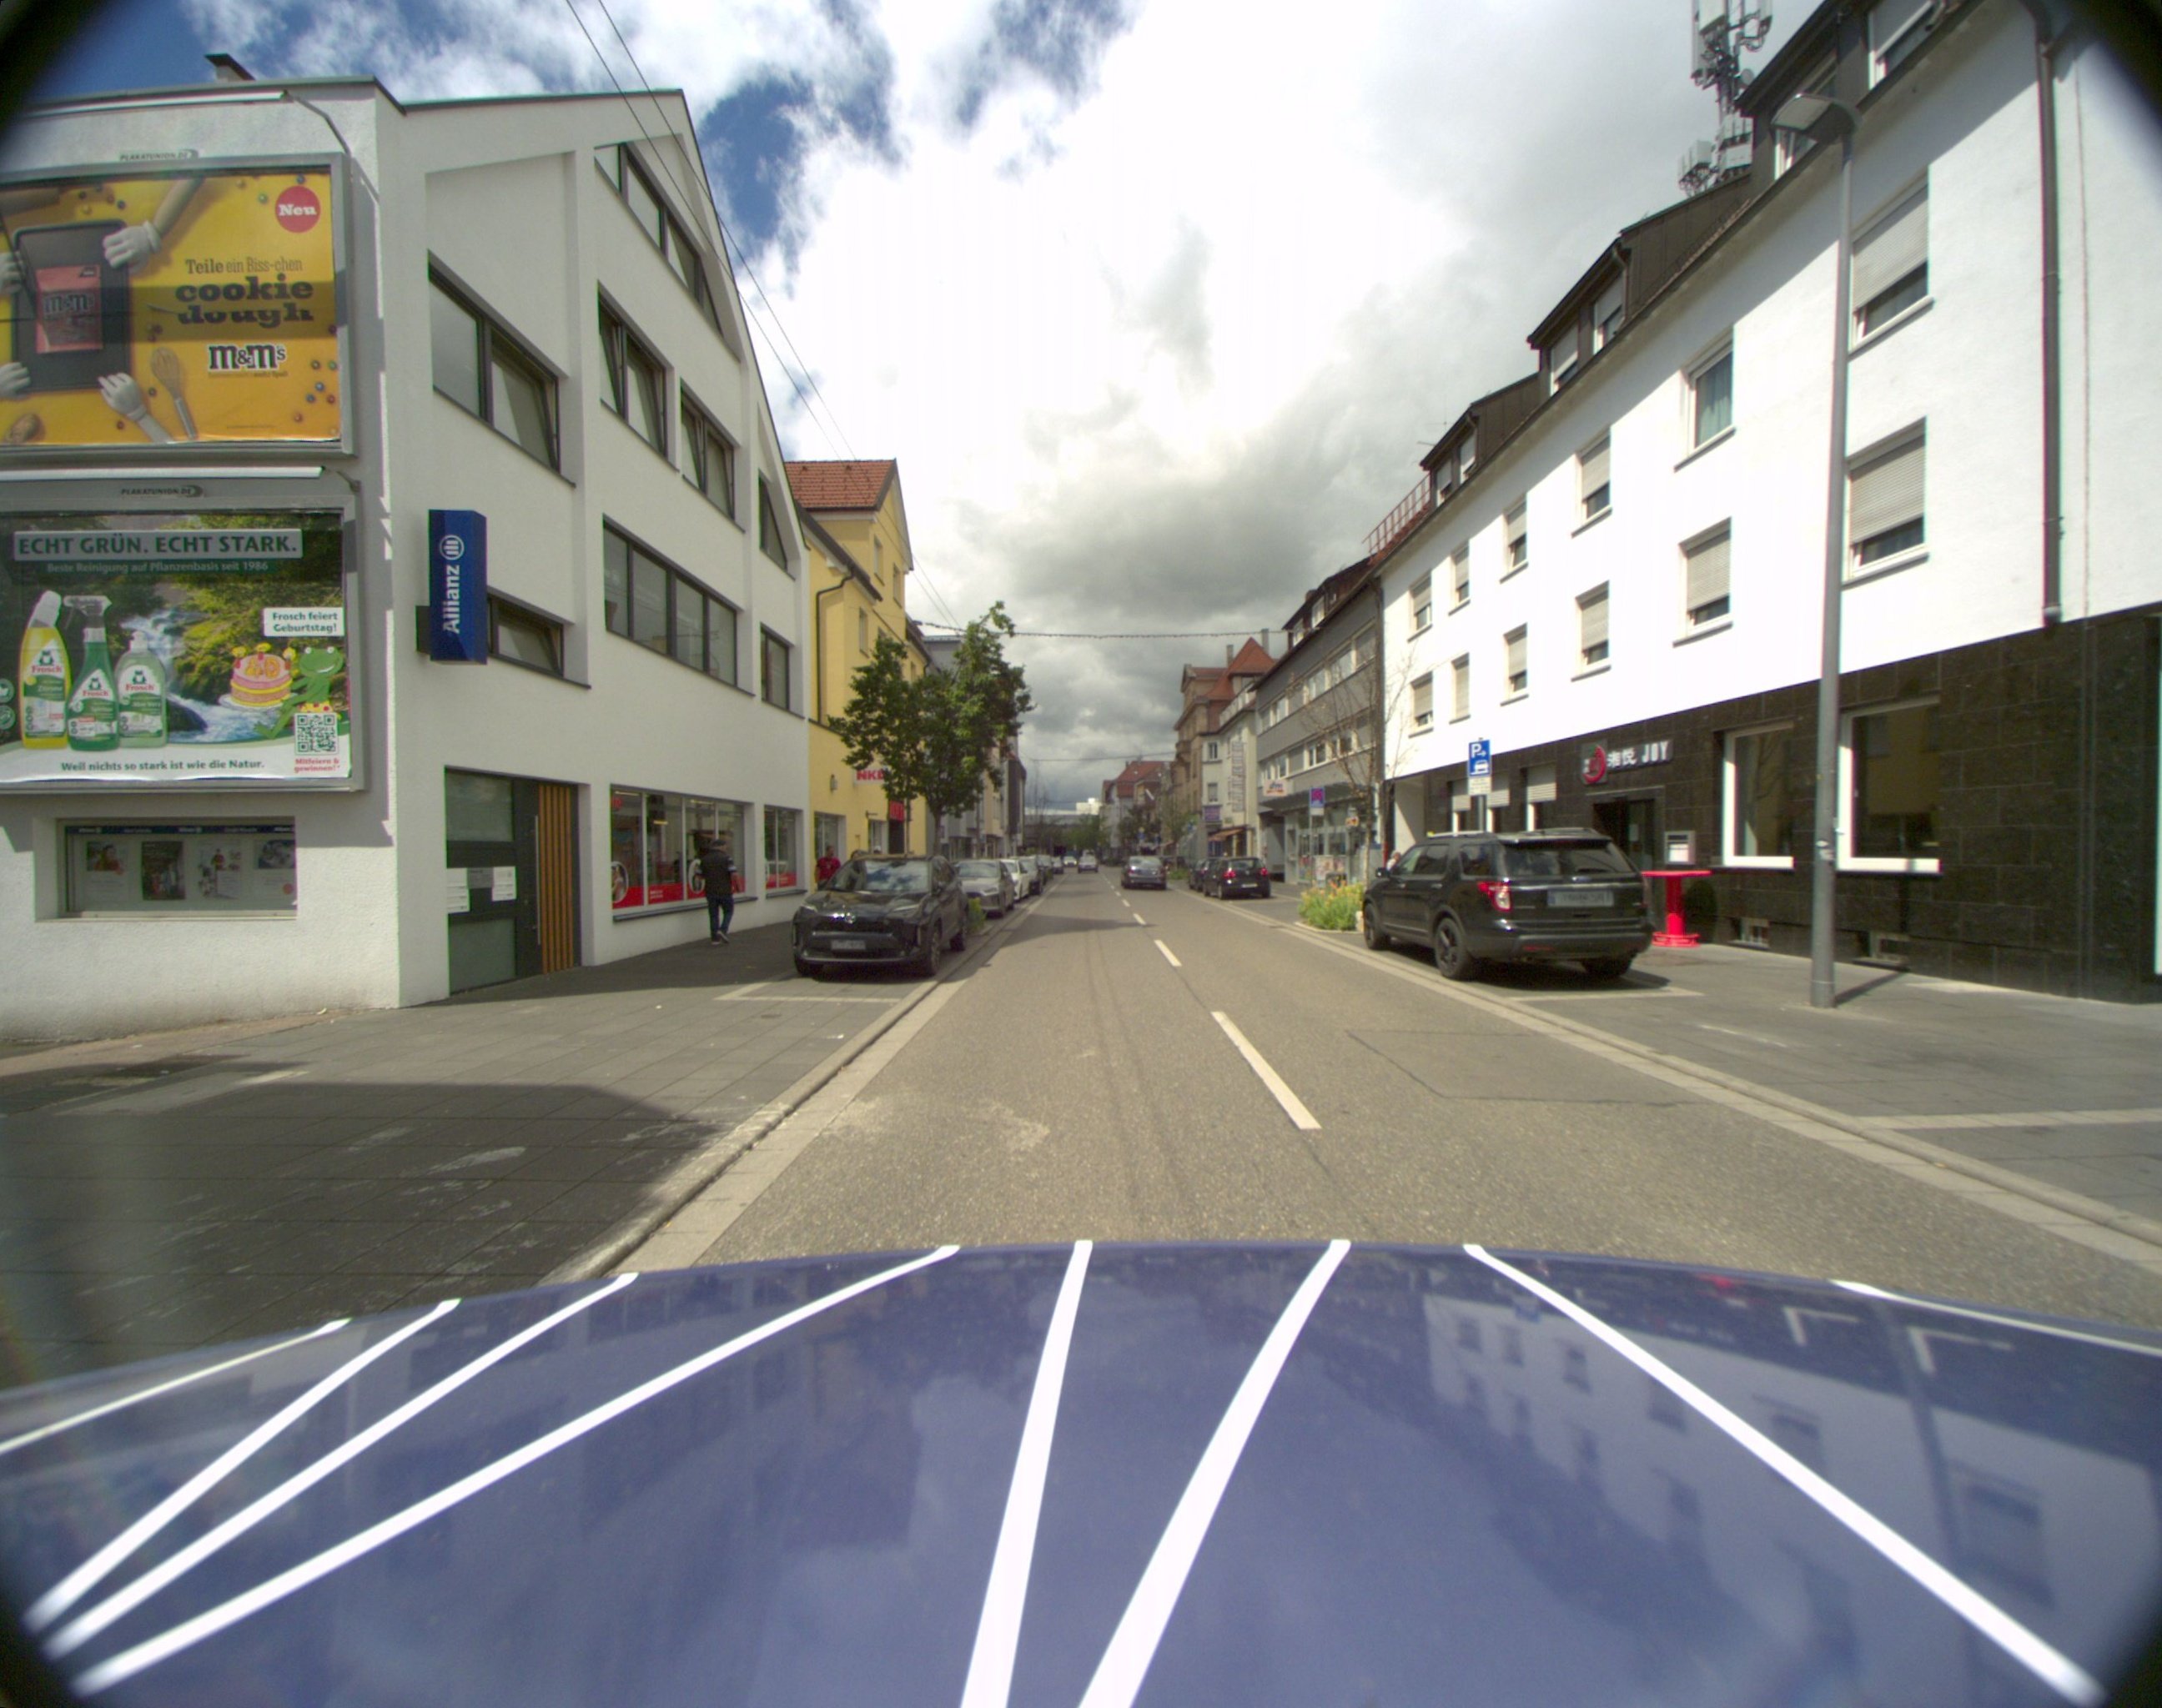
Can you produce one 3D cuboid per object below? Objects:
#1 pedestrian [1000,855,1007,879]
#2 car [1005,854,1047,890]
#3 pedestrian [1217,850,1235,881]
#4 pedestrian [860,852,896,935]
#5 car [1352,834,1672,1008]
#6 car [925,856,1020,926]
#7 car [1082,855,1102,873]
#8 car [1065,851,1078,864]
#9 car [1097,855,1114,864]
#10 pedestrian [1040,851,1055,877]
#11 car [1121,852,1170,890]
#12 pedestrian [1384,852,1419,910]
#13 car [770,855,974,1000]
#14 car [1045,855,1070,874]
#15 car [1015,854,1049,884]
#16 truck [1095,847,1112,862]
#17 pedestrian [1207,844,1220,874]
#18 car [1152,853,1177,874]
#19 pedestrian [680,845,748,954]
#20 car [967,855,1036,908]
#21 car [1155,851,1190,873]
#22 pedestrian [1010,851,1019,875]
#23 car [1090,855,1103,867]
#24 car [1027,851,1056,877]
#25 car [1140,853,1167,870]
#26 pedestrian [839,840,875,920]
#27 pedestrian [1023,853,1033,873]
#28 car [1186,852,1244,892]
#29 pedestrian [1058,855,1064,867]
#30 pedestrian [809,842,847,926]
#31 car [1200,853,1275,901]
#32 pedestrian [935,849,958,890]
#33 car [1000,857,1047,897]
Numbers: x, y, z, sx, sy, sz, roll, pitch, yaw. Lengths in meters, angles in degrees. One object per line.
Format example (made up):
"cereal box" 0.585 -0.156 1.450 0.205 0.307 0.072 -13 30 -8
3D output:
"pedestrian" -5.613 0.903 54.995 0.437 1.708 0.537 -2 2 -2
"car" -2.587 0.822 36.611 1.693 1.565 3.755 -2 1 0
"pedestrian" 7.641 0.606 40.134 0.733 1.609 0.651 -2 2 -4
"pedestrian" -4.572 0.878 17.133 0.589 1.830 0.576 -2 2 1
"car" 5.270 0.654 10.165 1.820 1.745 4.669 -2 1 3
"car" -2.686 0.866 19.778 1.725 1.467 4.353 -2 1 1
"car" 0.981 0.901 67.577 1.724 1.517 3.598 0 0 1
"car" -1.306 0.455 103.698 1.804 1.594 4.203 1 0 -1
"car" 3.752 0.853 117.440 1.723 1.296 4.463 -1 -1 -9
"pedestrian" -2.378 0.700 53.670 0.978 1.853 0.864 1 1 -1
"car" 2.916 0.732 35.308 1.910 1.554 4.645 2 1 1
"pedestrian" 8.316 0.685 19.741 0.656 1.446 0.563 -2 2 1
"car" -2.728 0.862 10.935 1.725 1.568 4.108 -2 1 0
"car" -1.930 0.825 64.327 1.711 1.412 4.318 -2 1 3
"car" -2.639 0.782 41.424 1.694 1.432 4.294 2 1 -3
"truck" 3.739 0.070 128.148 2.112 2.292 6.472 -2 1 -4
"pedestrian" 7.863 0.305 45.047 0.549 1.747 0.728 -2 2 -2
"car" 6.221 0.697 56.971 1.589 1.406 3.668 -2 1 2
"pedestrian" -6.063 0.730 12.594 0.743 1.727 0.757 1 2 1
"car" -2.613 0.856 25.971 1.634 1.467 4.957 -2 1 2
"car" 6.215 0.514 51.865 1.602 1.437 3.555 -1 0 -6
"pedestrian" -4.785 0.626 54.978 0.537 1.708 0.606 -2 2 -1
"car" 2.145 1.027 105.905 1.536 1.521 3.757 -2 1 -1
"car" -2.615 0.641 50.995 1.804 1.594 4.203 1 0 -1
"car" 6.426 0.646 68.103 1.850 1.390 4.035 -2 1 -2
"pedestrian" -5.291 0.603 17.989 0.589 1.830 0.576 -2 2 1
"pedestrian" -4.655 0.786 66.731 0.745 1.708 0.655 -1 2 -1
"car" 5.804 0.749 33.443 1.794 1.504 4.712 -2 1 1
"pedestrian" -2.515 0.878 97.257 0.584 1.591 0.549 -2 2 17
"pedestrian" -5.679 0.657 17.073 0.589 1.830 0.576 -2 2 1
"car" 5.544 0.769 27.336 1.794 1.495 4.177 -2 1 0
"pedestrian" -5.236 0.598 29.573 0.751 1.544 0.726 0 2 0
"car" -2.313 0.913 31.421 1.694 1.463 4.523 -2 -1 -2
